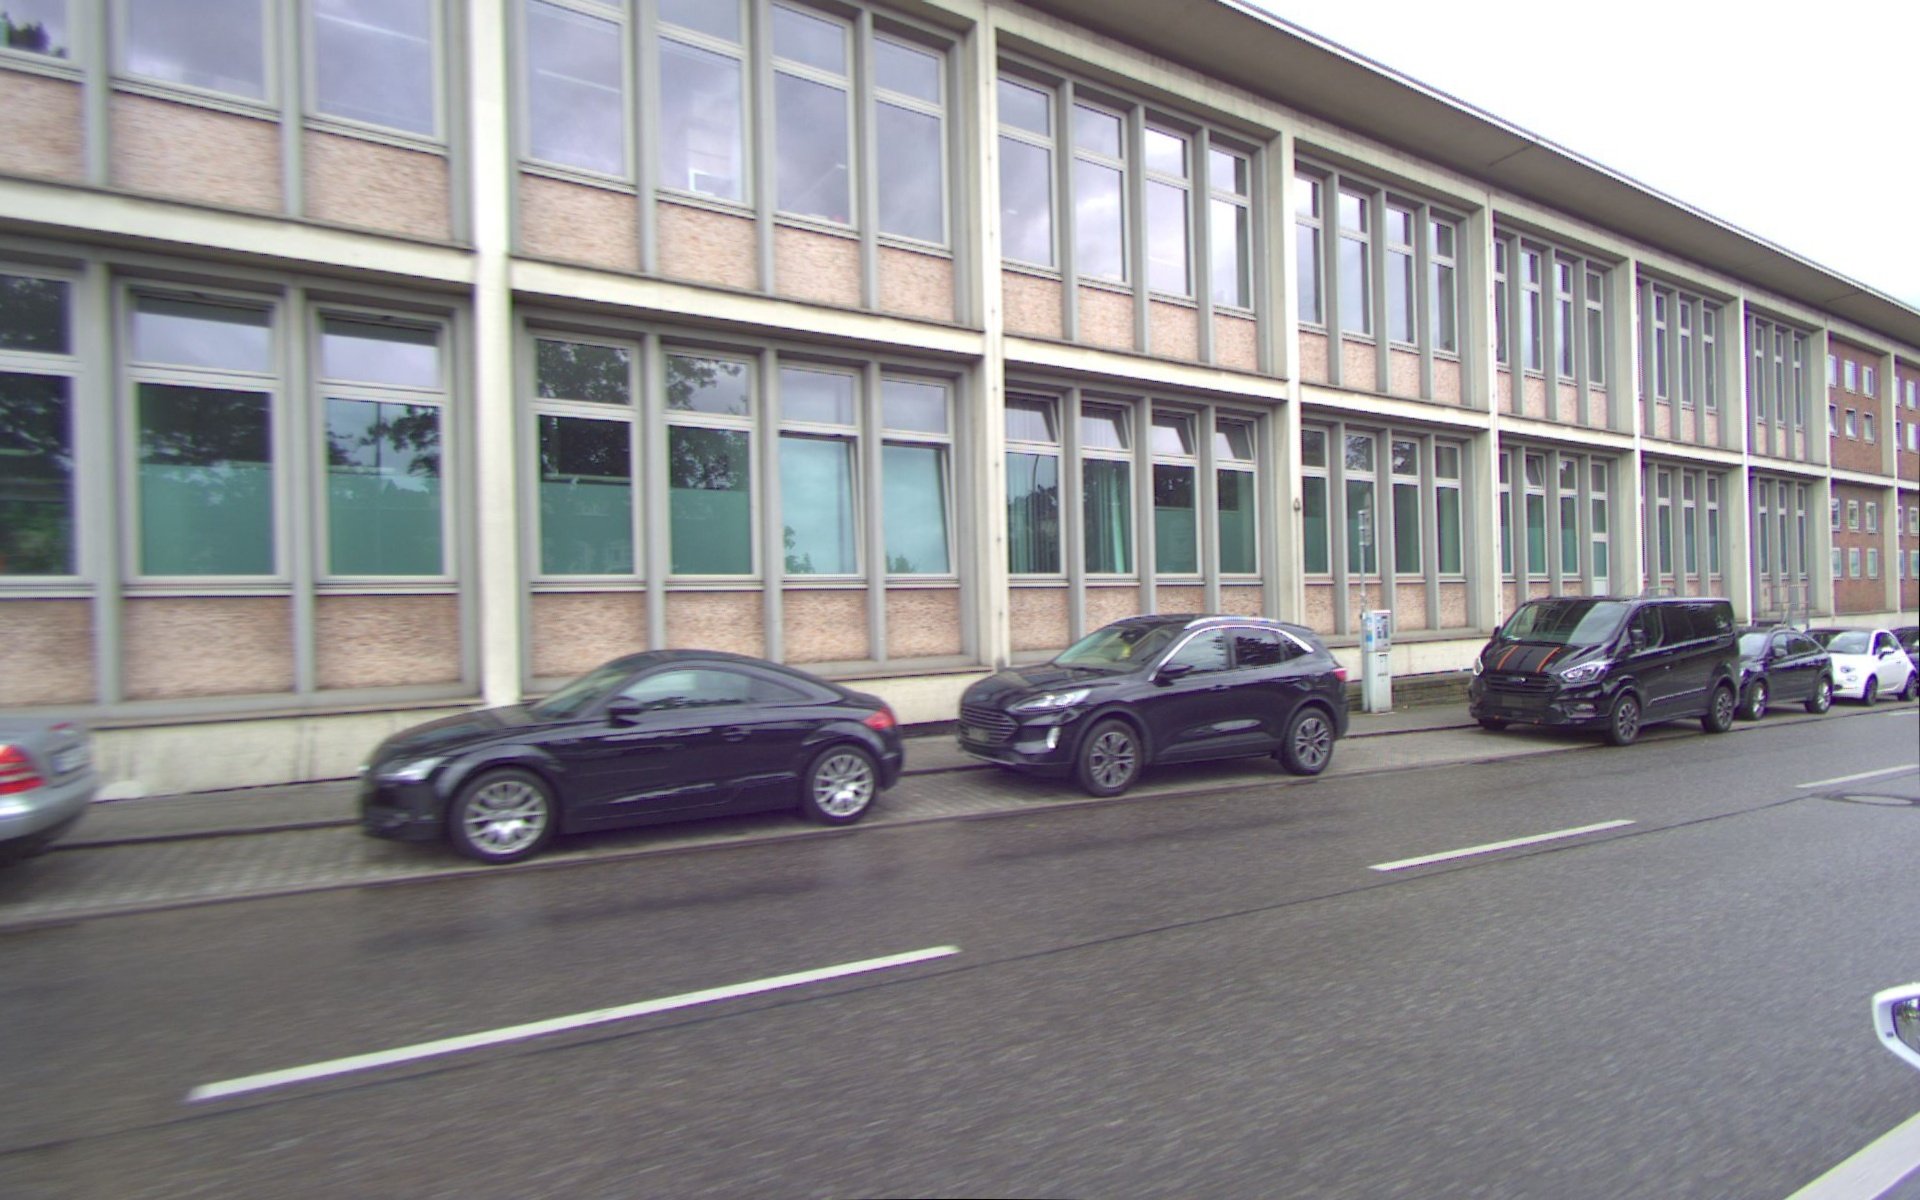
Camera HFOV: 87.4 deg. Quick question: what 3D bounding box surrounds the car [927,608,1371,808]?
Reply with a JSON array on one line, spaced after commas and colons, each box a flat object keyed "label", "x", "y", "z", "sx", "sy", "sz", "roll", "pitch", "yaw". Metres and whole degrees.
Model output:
[{"label": "car", "x": 2.069, "y": 0.951, "z": 10.555, "sx": 4.549, "sy": 1.698, "sz": 1.788, "roll": 0, "pitch": -1, "yaw": -31}]

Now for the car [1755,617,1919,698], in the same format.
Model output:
[{"label": "car", "x": 17.990, "y": 1.124, "z": 20.538, "sx": 3.511, "sy": 1.503, "sz": 1.559, "roll": 0, "pitch": -1, "yaw": -30}]

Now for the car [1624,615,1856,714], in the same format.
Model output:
[{"label": "car", "x": 14.044, "y": 1.076, "z": 18.039, "sx": 4.262, "sy": 1.572, "sz": 1.852, "roll": 0, "pitch": -1, "yaw": -30}]

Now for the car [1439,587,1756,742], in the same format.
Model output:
[{"label": "car", "x": 9.498, "y": 0.832, "z": 14.863, "sx": 4.937, "sy": 1.969, "sz": 1.939, "roll": 0, "pitch": -1, "yaw": -30}]

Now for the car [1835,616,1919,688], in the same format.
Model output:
[{"label": "car", "x": 22.112, "y": 1.125, "z": 22.922, "sx": 4.851, "sy": 1.503, "sz": 1.807, "roll": 0, "pitch": -1, "yaw": -31}]

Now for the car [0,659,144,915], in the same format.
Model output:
[{"label": "car", "x": -7.140, "y": 1.061, "z": 5.371, "sx": 4.041, "sy": 1.315, "sz": 1.684, "roll": 0, "pitch": -1, "yaw": -28}]

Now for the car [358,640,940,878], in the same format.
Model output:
[{"label": "car", "x": -2.301, "y": 1.049, "z": 7.874, "sx": 4.059, "sy": 1.371, "sz": 1.536, "roll": 0, "pitch": -1, "yaw": -29}]
